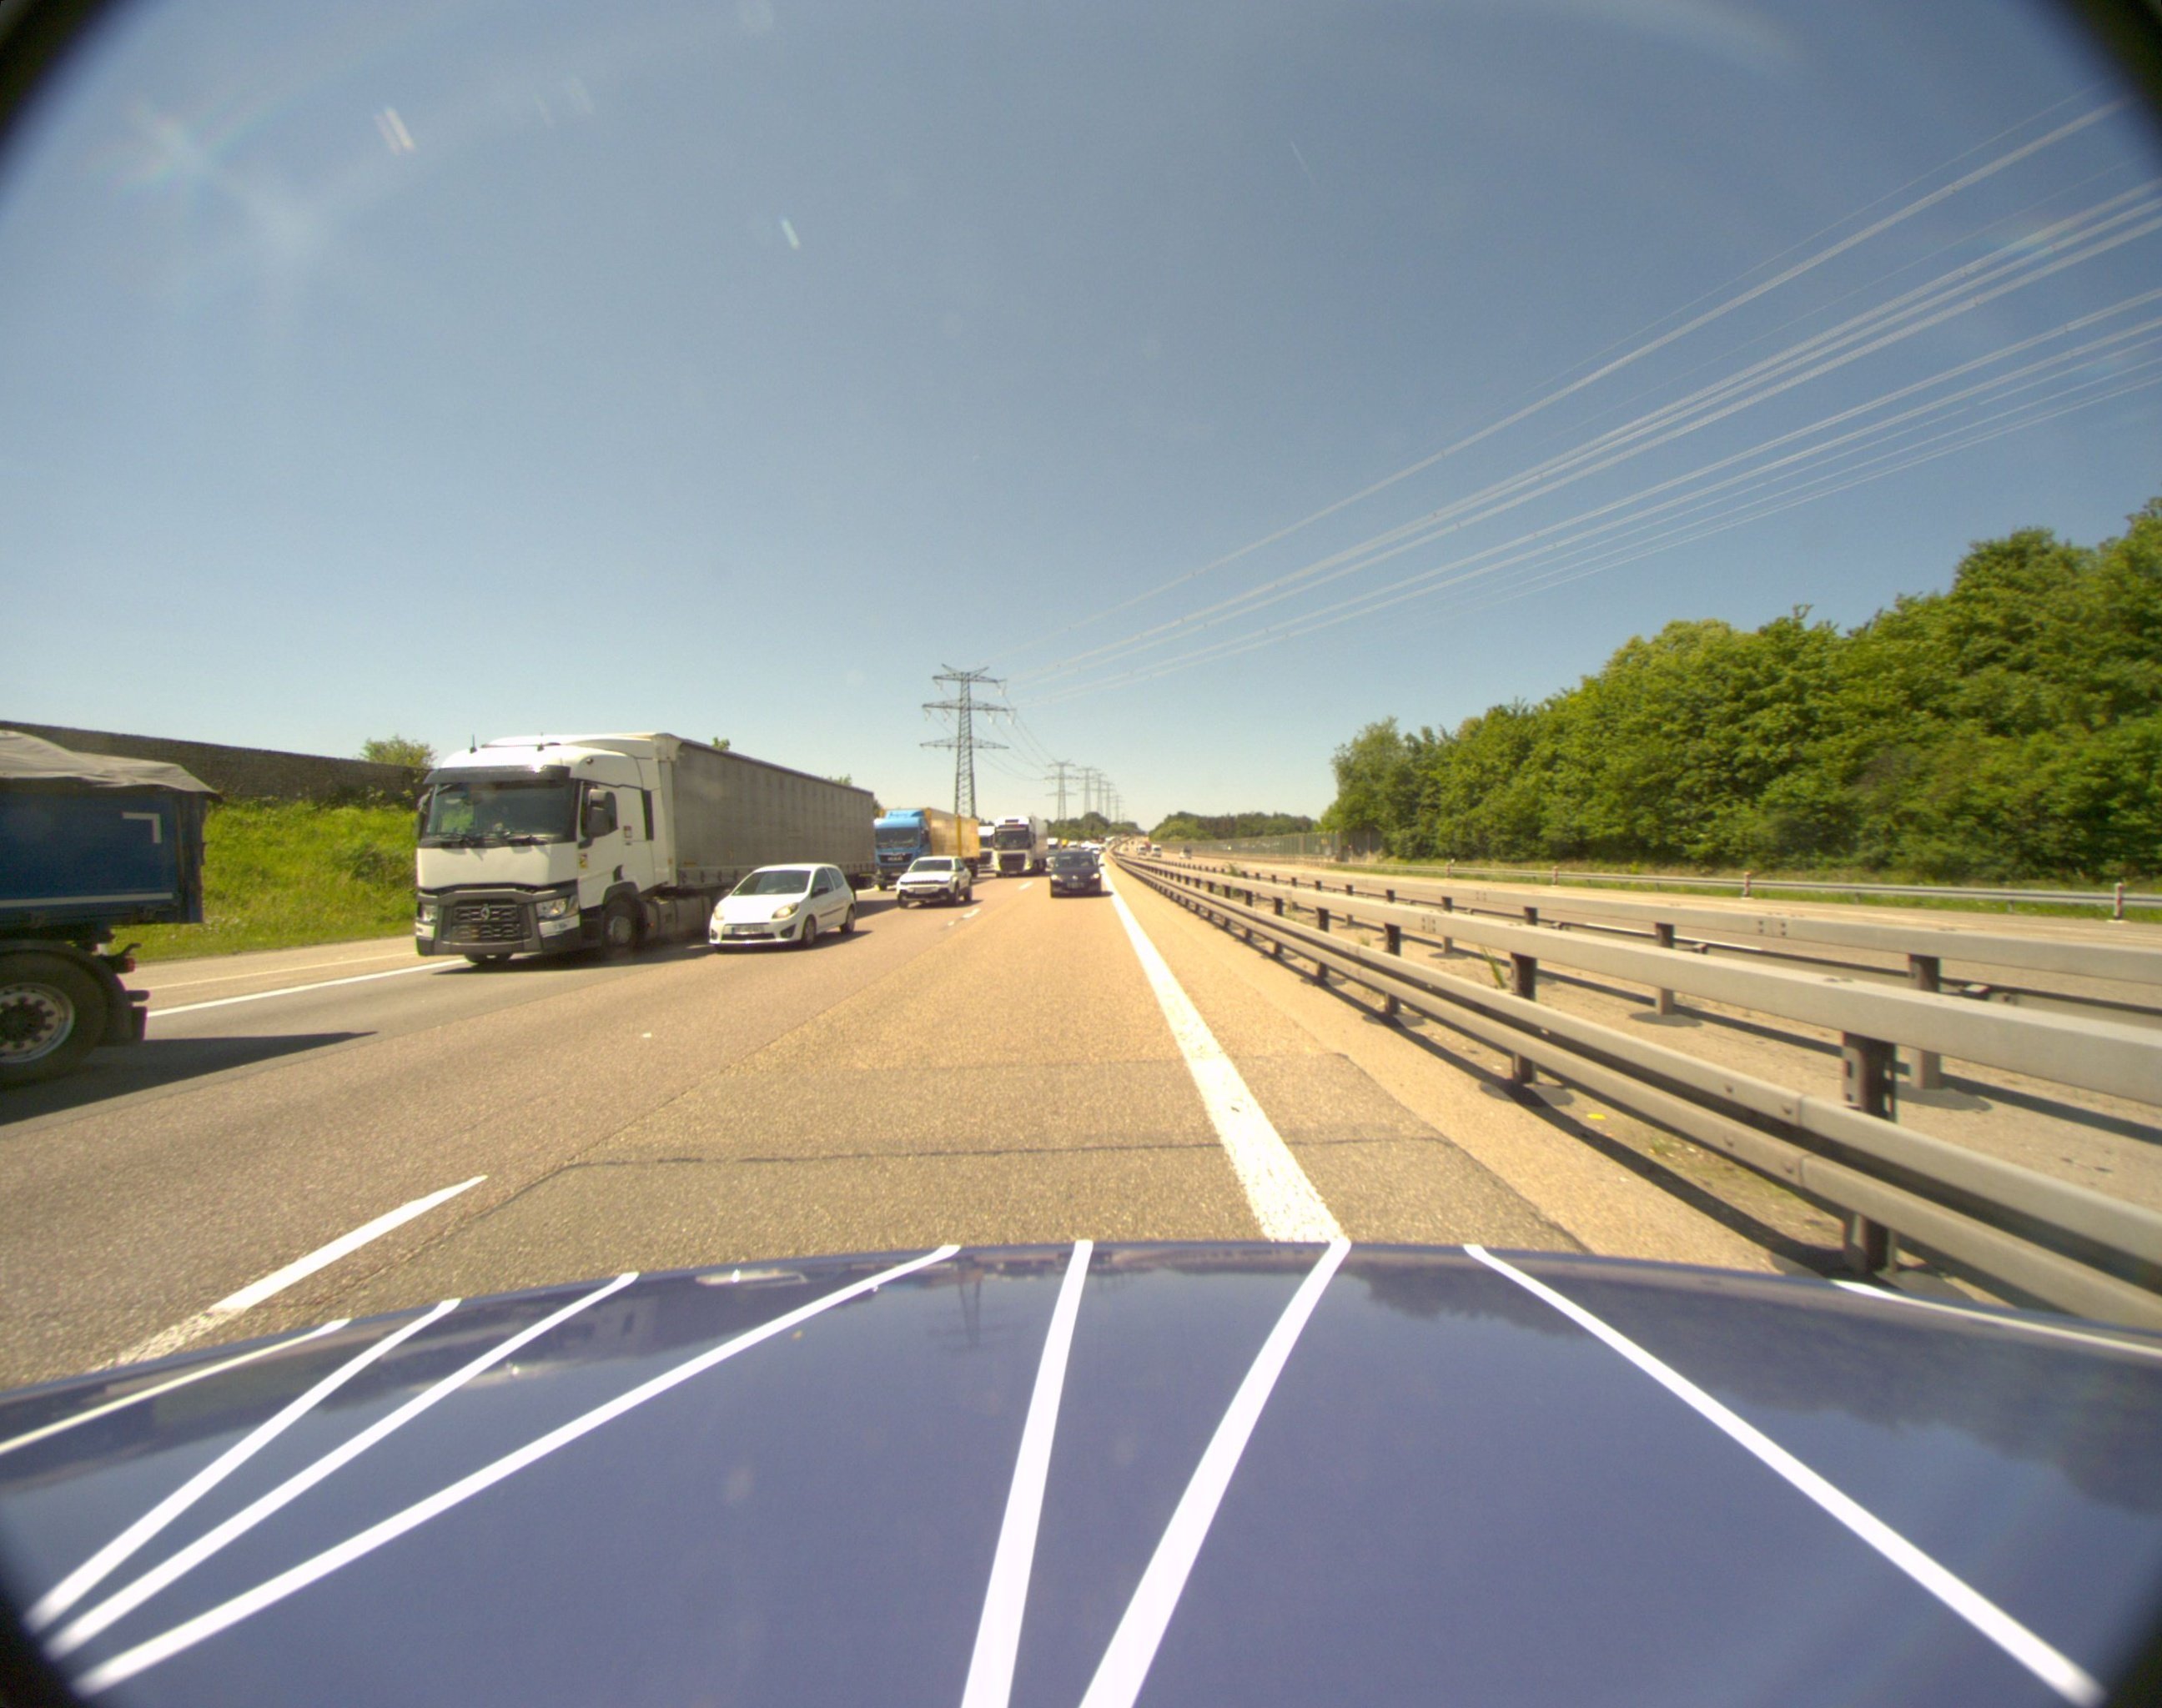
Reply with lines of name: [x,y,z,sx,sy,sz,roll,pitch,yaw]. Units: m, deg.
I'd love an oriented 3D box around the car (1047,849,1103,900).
car: [-0.126,0.661,27.006,1.748,1.570,3.999,-2,2,2]

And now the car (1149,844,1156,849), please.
car: [23.503,-2.369,249.325,1.998,1.567,5.274,-2,1,3]

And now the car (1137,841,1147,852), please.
car: [15.846,-2.036,197.062,2.058,2.636,5.837,3,2,0]

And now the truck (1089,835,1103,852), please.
truck: [2.742,-1.924,137.926,2.309,2.789,5.109,-2,2,2]

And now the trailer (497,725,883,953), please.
trailer: [-8.874,-0.328,20.647,2.969,4.026,13.751,-2,1,1]

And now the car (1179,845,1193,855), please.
car: [20.106,-0.815,145.397,1.869,1.894,5.491,1,1,-1]

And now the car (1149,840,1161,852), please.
car: [16.033,-1.723,164.712,2.161,2.579,5.888,0,2,0]

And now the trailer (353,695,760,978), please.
trailer: [-8.998,-0.269,14.283,2.931,4.020,6.410,-2,1,1]

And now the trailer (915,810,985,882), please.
trailer: [-8.300,-0.494,49.413,2.772,4.093,9.375,-2,0,0]

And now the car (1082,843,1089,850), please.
car: [1.251,-2.216,219.926,1.998,2.002,3.999,-2,2,1]

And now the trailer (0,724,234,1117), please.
trailer: [-9.192,0.528,2.335,2.750,2.820,9.115,-2,0,1]

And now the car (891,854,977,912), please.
car: [-4.534,0.841,23.956,1.776,1.521,3.851,-2,2,2]

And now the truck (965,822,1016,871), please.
truck: [-7.845,-0.685,67.459,2.695,3.908,11.296,-2,1,1]

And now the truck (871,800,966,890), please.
truck: [-8.241,-0.449,40.088,2.772,4.085,9.951,-2,0,0]

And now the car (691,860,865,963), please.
car: [-5.503,0.962,14.356,1.659,1.502,3.825,-2,2,1]

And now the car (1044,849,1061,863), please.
car: [-3.465,0.178,93.527,1.821,1.569,3.999,-2,2,1]

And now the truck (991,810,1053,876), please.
truck: [-3.968,-0.790,54.953,2.717,4.015,14.255,-2,1,2]
